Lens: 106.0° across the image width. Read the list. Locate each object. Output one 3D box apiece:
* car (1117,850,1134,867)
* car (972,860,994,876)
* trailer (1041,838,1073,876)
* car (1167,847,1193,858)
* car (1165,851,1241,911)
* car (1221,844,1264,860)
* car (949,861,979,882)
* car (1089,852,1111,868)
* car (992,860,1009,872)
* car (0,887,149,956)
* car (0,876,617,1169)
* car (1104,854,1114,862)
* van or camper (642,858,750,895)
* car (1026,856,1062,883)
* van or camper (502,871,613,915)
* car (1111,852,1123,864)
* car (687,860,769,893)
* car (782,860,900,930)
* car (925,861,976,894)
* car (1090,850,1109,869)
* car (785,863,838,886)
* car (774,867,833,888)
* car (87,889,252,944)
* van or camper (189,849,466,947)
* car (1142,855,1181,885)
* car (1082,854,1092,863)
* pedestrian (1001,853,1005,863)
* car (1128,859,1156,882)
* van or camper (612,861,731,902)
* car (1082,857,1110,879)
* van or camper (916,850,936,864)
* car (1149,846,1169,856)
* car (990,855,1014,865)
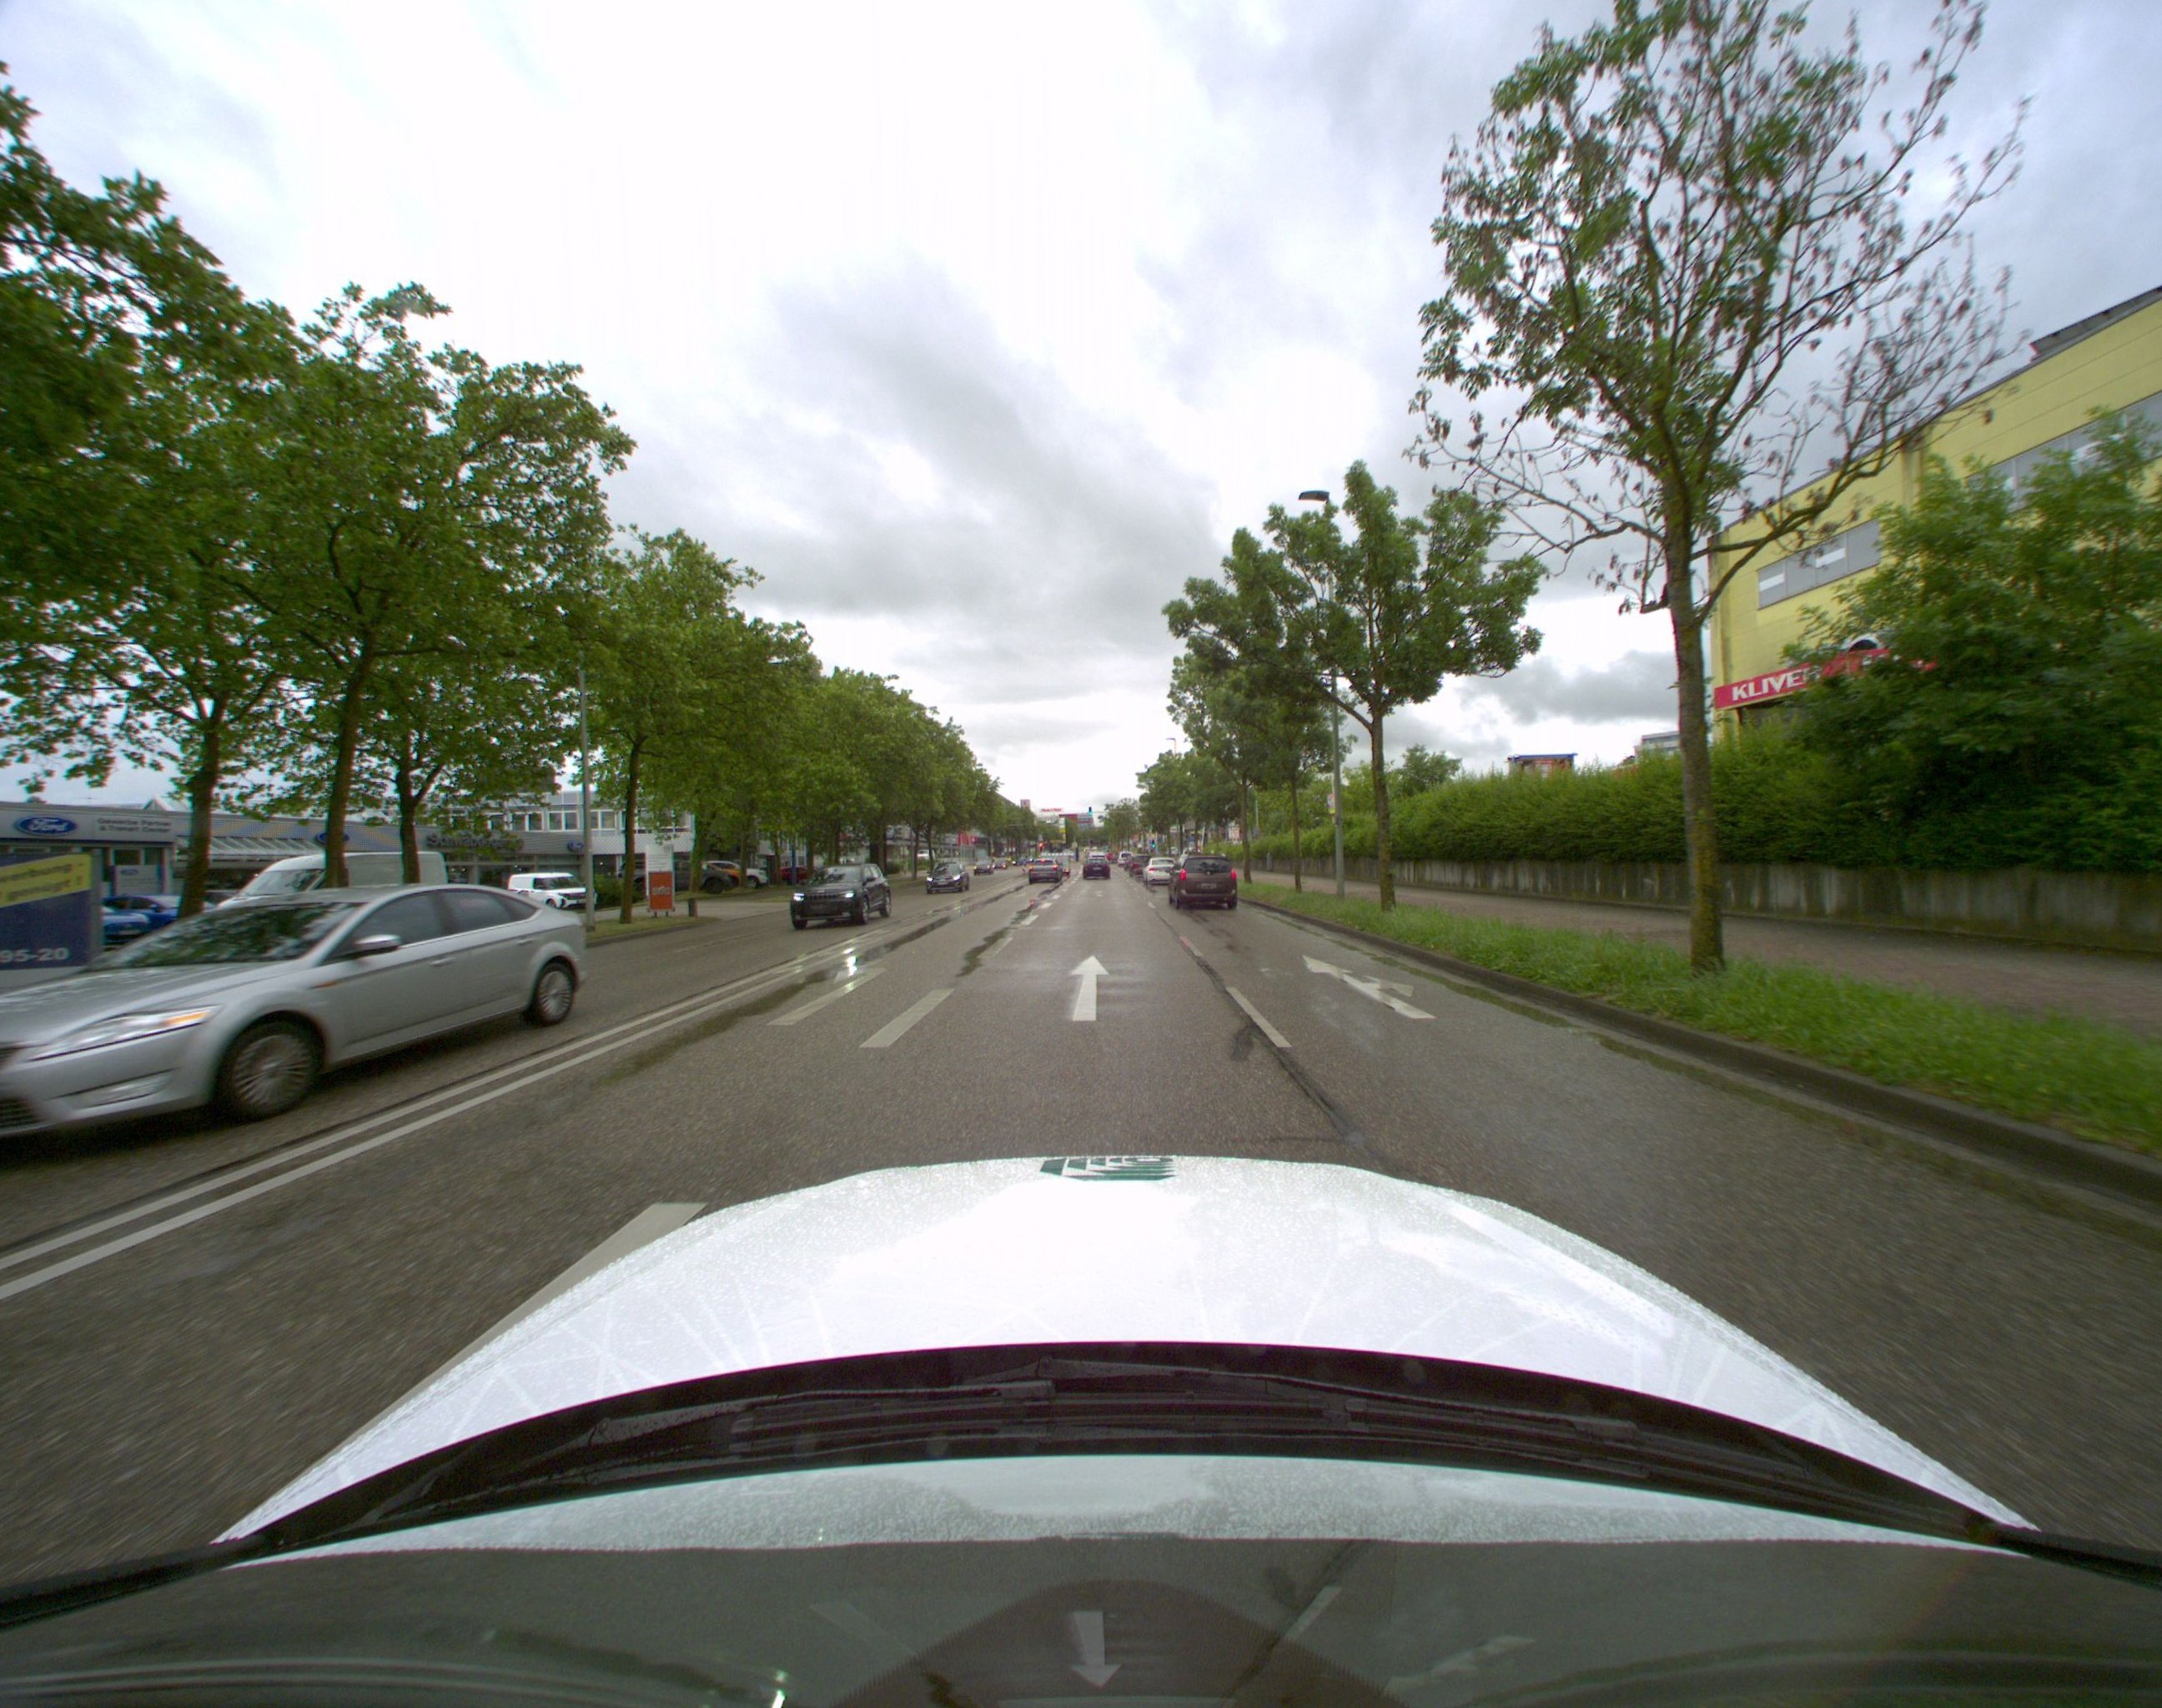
[{"bbox_3d":[5.244,0.533,96.627,1.776,1.866,4.000,-2,0,0],"label":"car"},{"bbox_3d":[-9.907,1.421,82.553,1.704,1.465,4.084,-3,0,-1],"label":"car"},{"bbox_3d":[-1.923,0.258,66.449,2.365,2.897,5.544,-2,0,0],"label":"trailer"},{"bbox_3d":[16.837,-0.302,138.595,4.048,1.662,1.959,-4,1,-39],"label":"car"},{"bbox_3d":[3.623,0.756,24.880,1.720,1.624,4.471,-2,0,1],"label":"car"},{"bbox_3d":[16.380,-0.236,82.738,3.970,1.442,1.656,-2,0,3],"label":"car"},{"bbox_3d":[-9.114,1.342,63.707,1.732,1.429,4.535,-3,0,-1],"label":"car"},{"bbox_3d":[1.639,0.517,71.820,1.678,1.377,3.996,-2,0,-3],"label":"car"},{"bbox_3d":[-10.148,1.520,103.116,1.704,1.465,4.084,-3,0,-1],"label":"car"},{"bbox_3d":[-29.130,1.909,23.185,3.957,1.767,1.873,-2,0,16],"label":"car"},{"bbox_3d":[-6.156,0.996,6.688,1.988,1.429,4.683,-3,0,-1],"label":"car"},{"bbox_3d":[4.786,0.696,140.680,1.689,1.443,3.990,-2,0,1],"label":"car"},{"bbox_3d":[-21.792,1.287,46.336,5.379,1.770,2.089,-2,-3,-22],"label":"van or camper"},{"bbox_3d":[-2.297,0.928,51.438,1.900,1.578,4.881,-2,0,1],"label":"car"},{"bbox_3d":[-22.821,1.701,35.464,4.589,1.784,1.850,-2,0,25],"label":"van or camper"},{"bbox_3d":[5.089,0.582,115.587,1.678,1.684,3.404,0,-1,2],"label":"car"},{"bbox_3d":[-21.379,1.334,49.491,4.471,1.816,1.985,-2,0,-22],"label":"car"},{"bbox_3d":[-6.114,0.990,21.214,1.756,1.531,3.859,-4,0,1],"label":"car"},{"bbox_3d":[-6.487,1.130,40.878,1.659,1.462,4.183,-3,0,3],"label":"car"},{"bbox_3d":[2.006,0.591,89.313,1.986,2.014,4.000,0,-1,1],"label":"car"},{"bbox_3d":[-23.534,1.789,71.160,4.236,1.653,1.997,-3,-1,-23],"label":"car"},{"bbox_3d":[-23.142,1.919,67.870,4.572,1.596,1.985,-1,-1,-22],"label":"car"},{"bbox_3d":[-28.820,1.960,25.792,3.957,1.520,1.873,-2,0,15],"label":"car"},{"bbox_3d":[-21.396,1.117,23.715,1.986,2.470,6.403,-1,0,2],"label":"van or camper"},{"bbox_3d":[4.335,0.825,44.462,1.794,1.544,4.621,0,0,1],"label":"car"},{"bbox_3d":[1.328,0.934,175.468,1.986,2.014,4.001,0,-1,2],"label":"car"},{"bbox_3d":[-17.491,0.829,182.077,0.857,2.218,0.845,-2,0,-3],"label":"pedestrian"},{"bbox_3d":[4.363,1.165,58.904,1.794,1.587,4.452,0,0,1],"label":"car"},{"bbox_3d":[-20.981,1.356,42.036,5.308,1.821,2.248,-2,0,-25],"label":"van or camper"},{"bbox_3d":[1.013,0.927,55.687,1.776,1.398,4.000,-1,0,0],"label":"car"},{"bbox_3d":[-23.561,0.458,124.034,1.987,1.967,4.788,0,-1,1],"label":"van or camper"},{"bbox_3d":[16.627,-0.653,173.849,4.095,1.904,1.801,-2,0,2],"label":"car"},{"bbox_3d":[-14.105,1.056,145.583,3.948,1.552,1.912,-2,0,35],"label":"car"}]
